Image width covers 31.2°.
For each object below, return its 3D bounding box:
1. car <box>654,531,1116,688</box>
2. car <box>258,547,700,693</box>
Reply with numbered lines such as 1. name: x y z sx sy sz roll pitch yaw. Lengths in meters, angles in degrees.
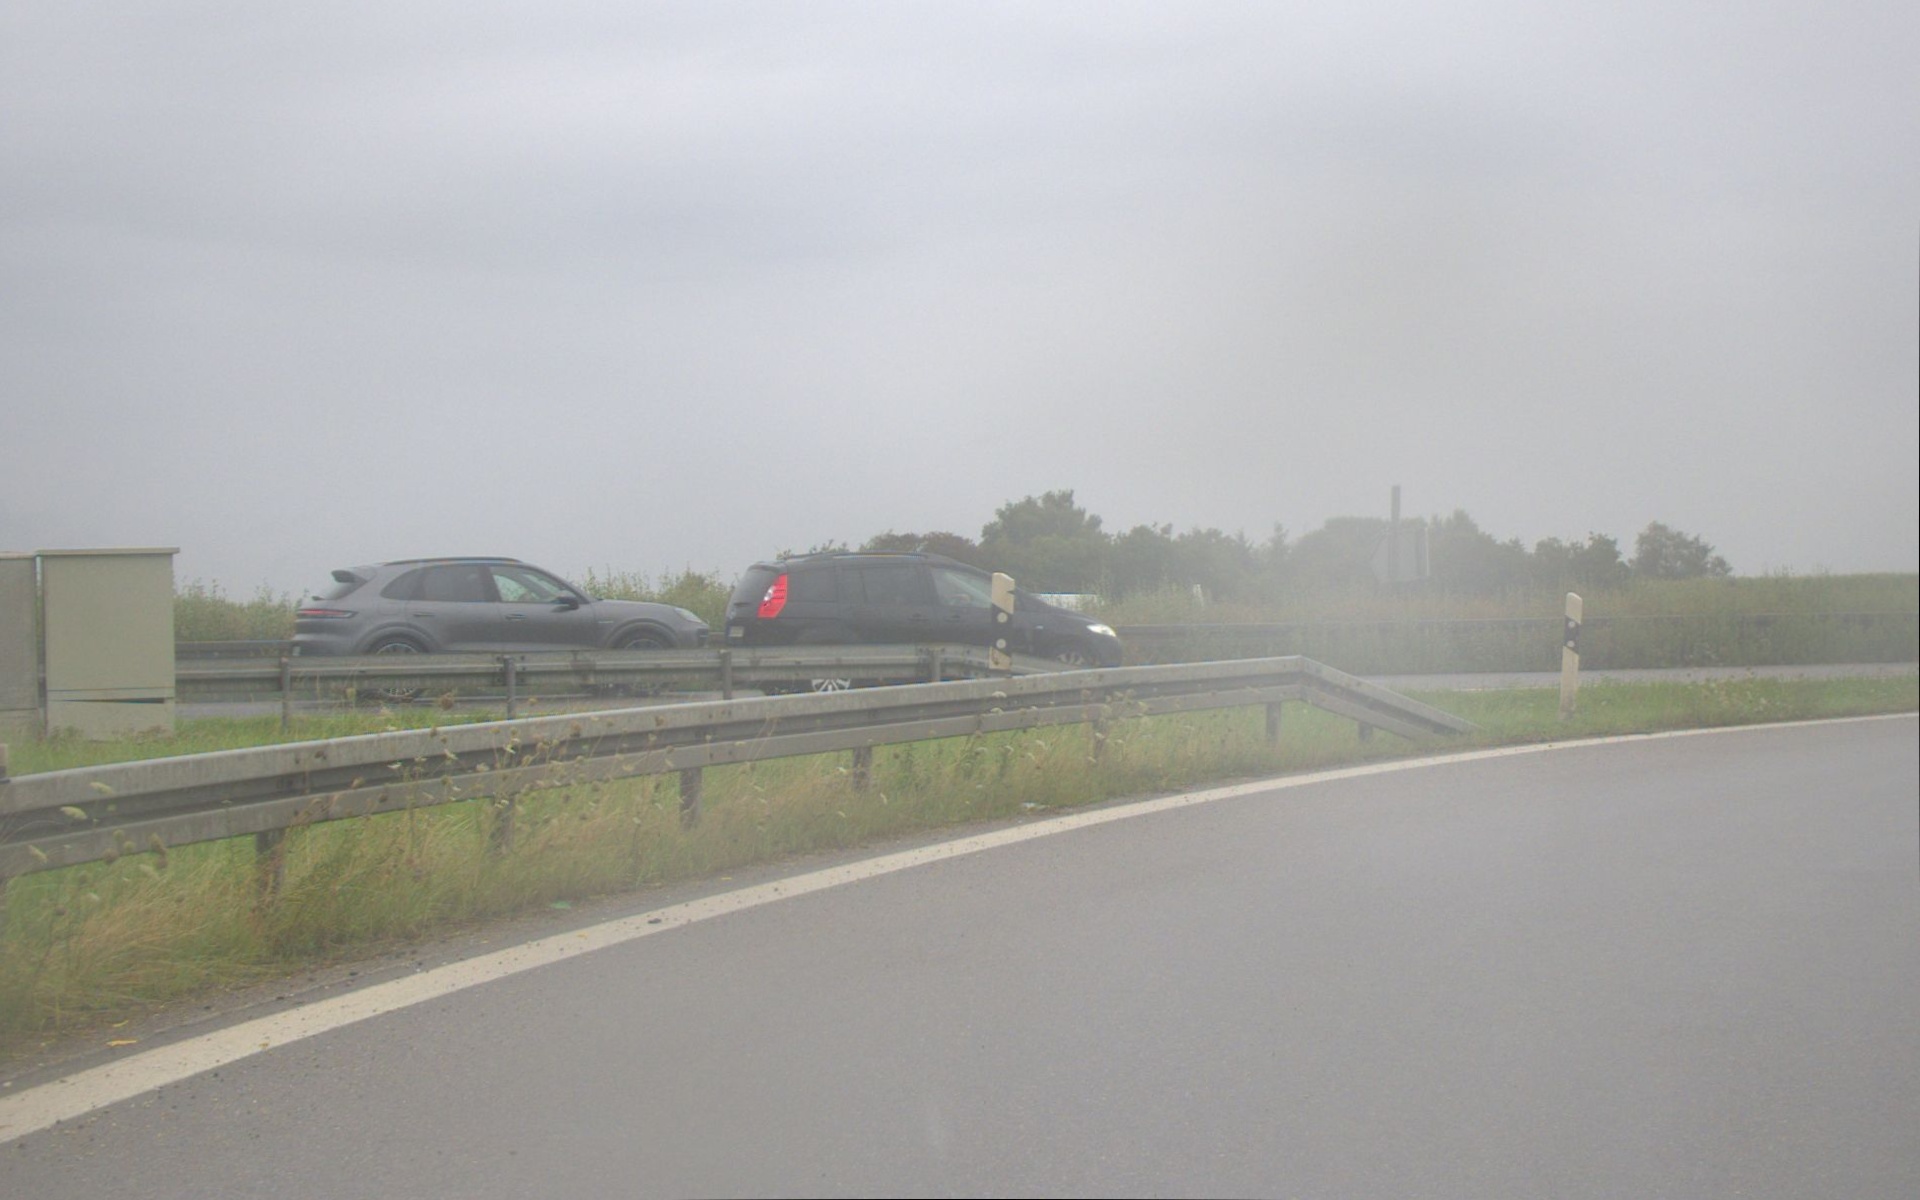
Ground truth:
1. car: -0.834 0.090 37.393 4.579 1.630 2.153 0 0 -20
2. car: -5.625 0.208 40.129 4.781 1.630 2.060 0 0 -20
